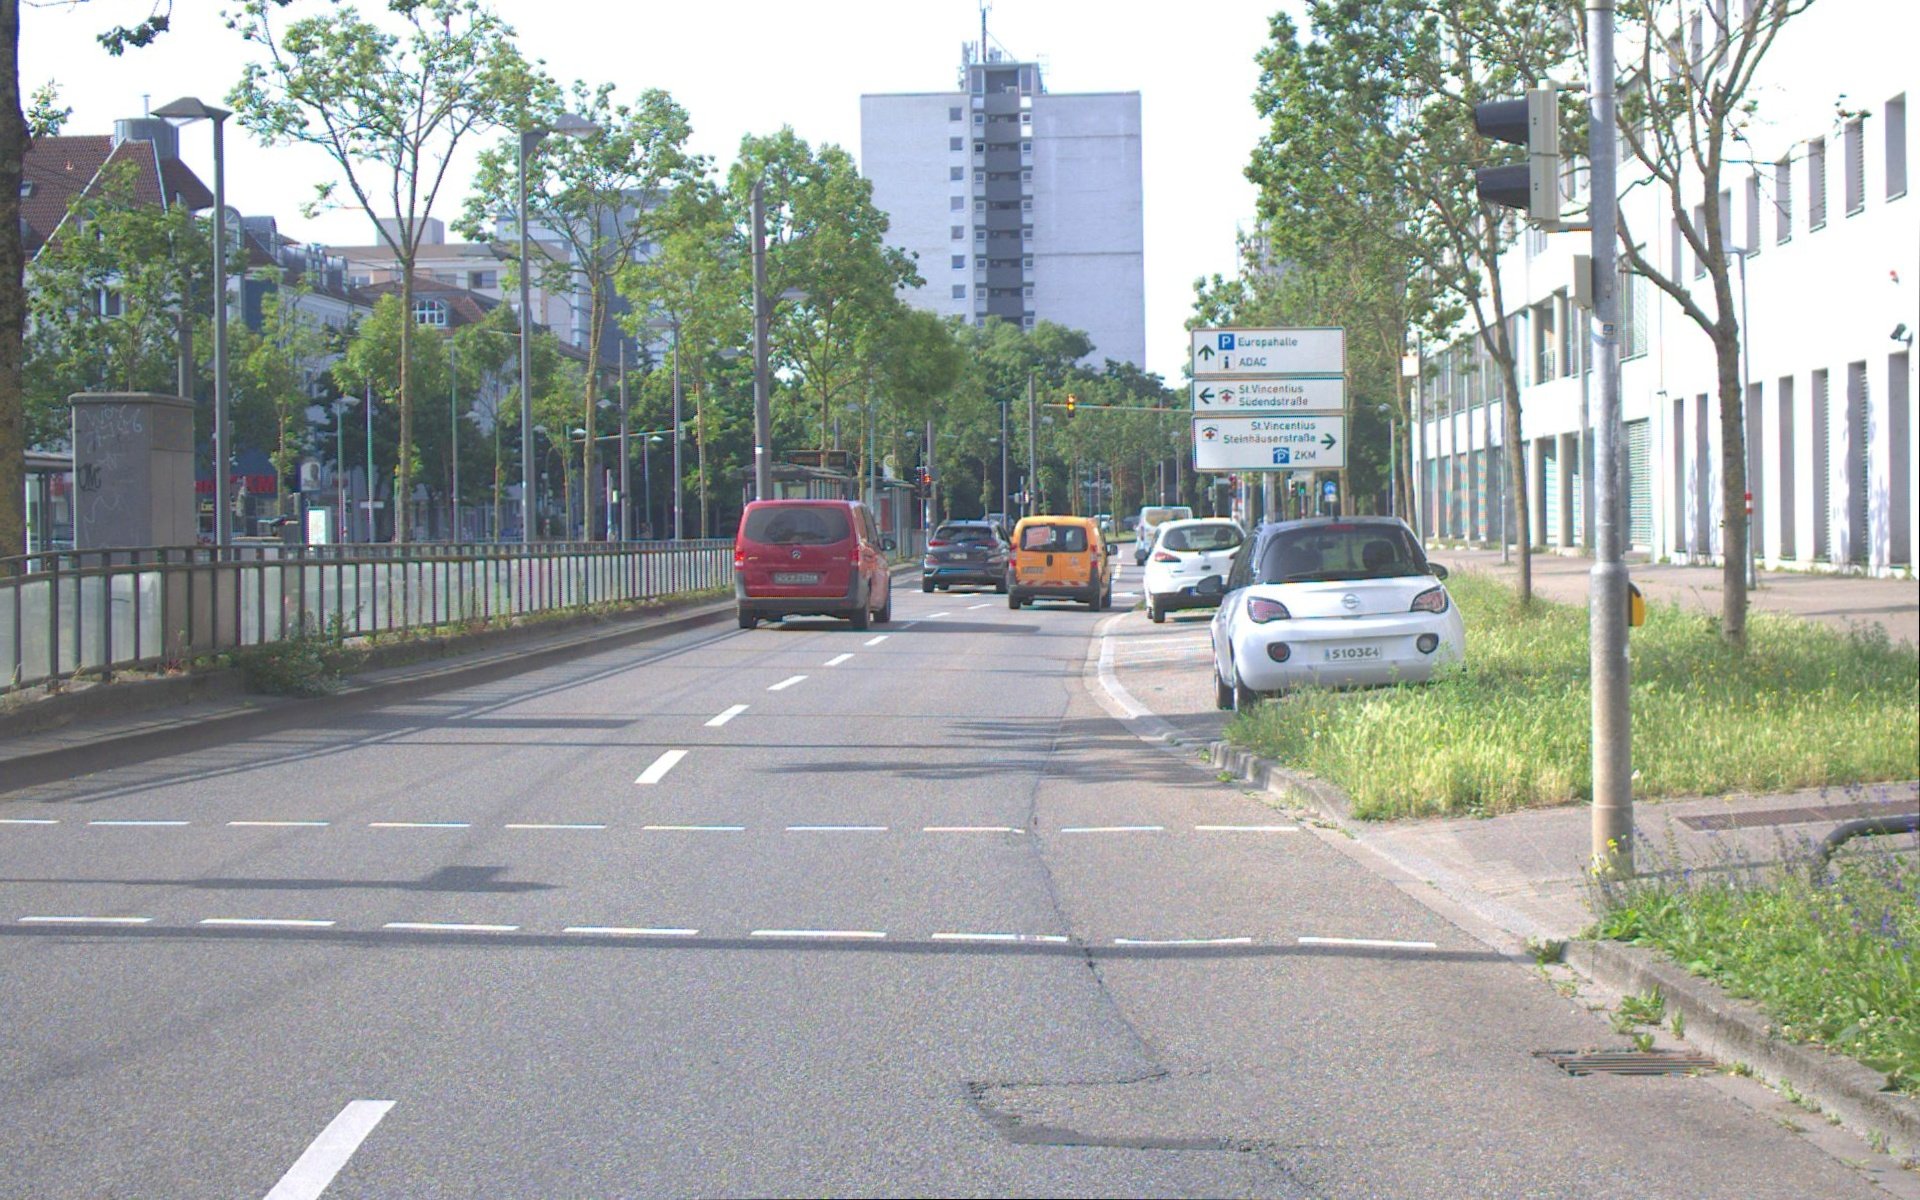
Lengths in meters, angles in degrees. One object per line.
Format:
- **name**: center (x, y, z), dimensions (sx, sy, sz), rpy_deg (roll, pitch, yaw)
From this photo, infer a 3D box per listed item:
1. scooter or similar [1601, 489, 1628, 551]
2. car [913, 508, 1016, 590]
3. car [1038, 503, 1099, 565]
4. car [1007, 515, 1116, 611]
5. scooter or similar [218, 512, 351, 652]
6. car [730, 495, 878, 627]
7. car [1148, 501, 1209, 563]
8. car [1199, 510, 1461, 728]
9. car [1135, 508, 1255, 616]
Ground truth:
- **scooter or similar**: center (12.997, -1.597, 68.279), dimensions (0.462, 1.209, 1.254), rpy_deg (-2, 1, 9)
- **car**: center (0.125, -1.113, 74.404), dimensions (1.994, 1.700, 4.000), rpy_deg (-1, 1, 3)
- **car**: center (3.647, -2.216, 115.396), dimensions (1.993, 2.007, 4.000), rpy_deg (-1, 1, 2)
- **car**: center (1.897, -0.707, 63.347), dimensions (1.876, 1.690, 3.973), rpy_deg (0, 1, 4)
- **scooter or similar**: center (-6.142, -0.173, 31.316), dimensions (0.427, 1.234, 1.260), rpy_deg (-1, 1, 30)
- **car**: center (-2.246, -0.601, 50.420), dimensions (1.874, 1.847, 4.000), rpy_deg (0, 1, 2)
- **car**: center (7.361, -2.300, 116.053), dimensions (1.994, 2.007, 4.000), rpy_deg (-1, 1, 3)
- **car**: center (2.770, 0.088, 26.418), dimensions (1.720, 1.514, 3.781), rpy_deg (-1, 2, 2)
- **car**: center (3.564, -0.602, 52.547), dimensions (1.689, 1.521, 3.850), rpy_deg (-2, 1, 3)
